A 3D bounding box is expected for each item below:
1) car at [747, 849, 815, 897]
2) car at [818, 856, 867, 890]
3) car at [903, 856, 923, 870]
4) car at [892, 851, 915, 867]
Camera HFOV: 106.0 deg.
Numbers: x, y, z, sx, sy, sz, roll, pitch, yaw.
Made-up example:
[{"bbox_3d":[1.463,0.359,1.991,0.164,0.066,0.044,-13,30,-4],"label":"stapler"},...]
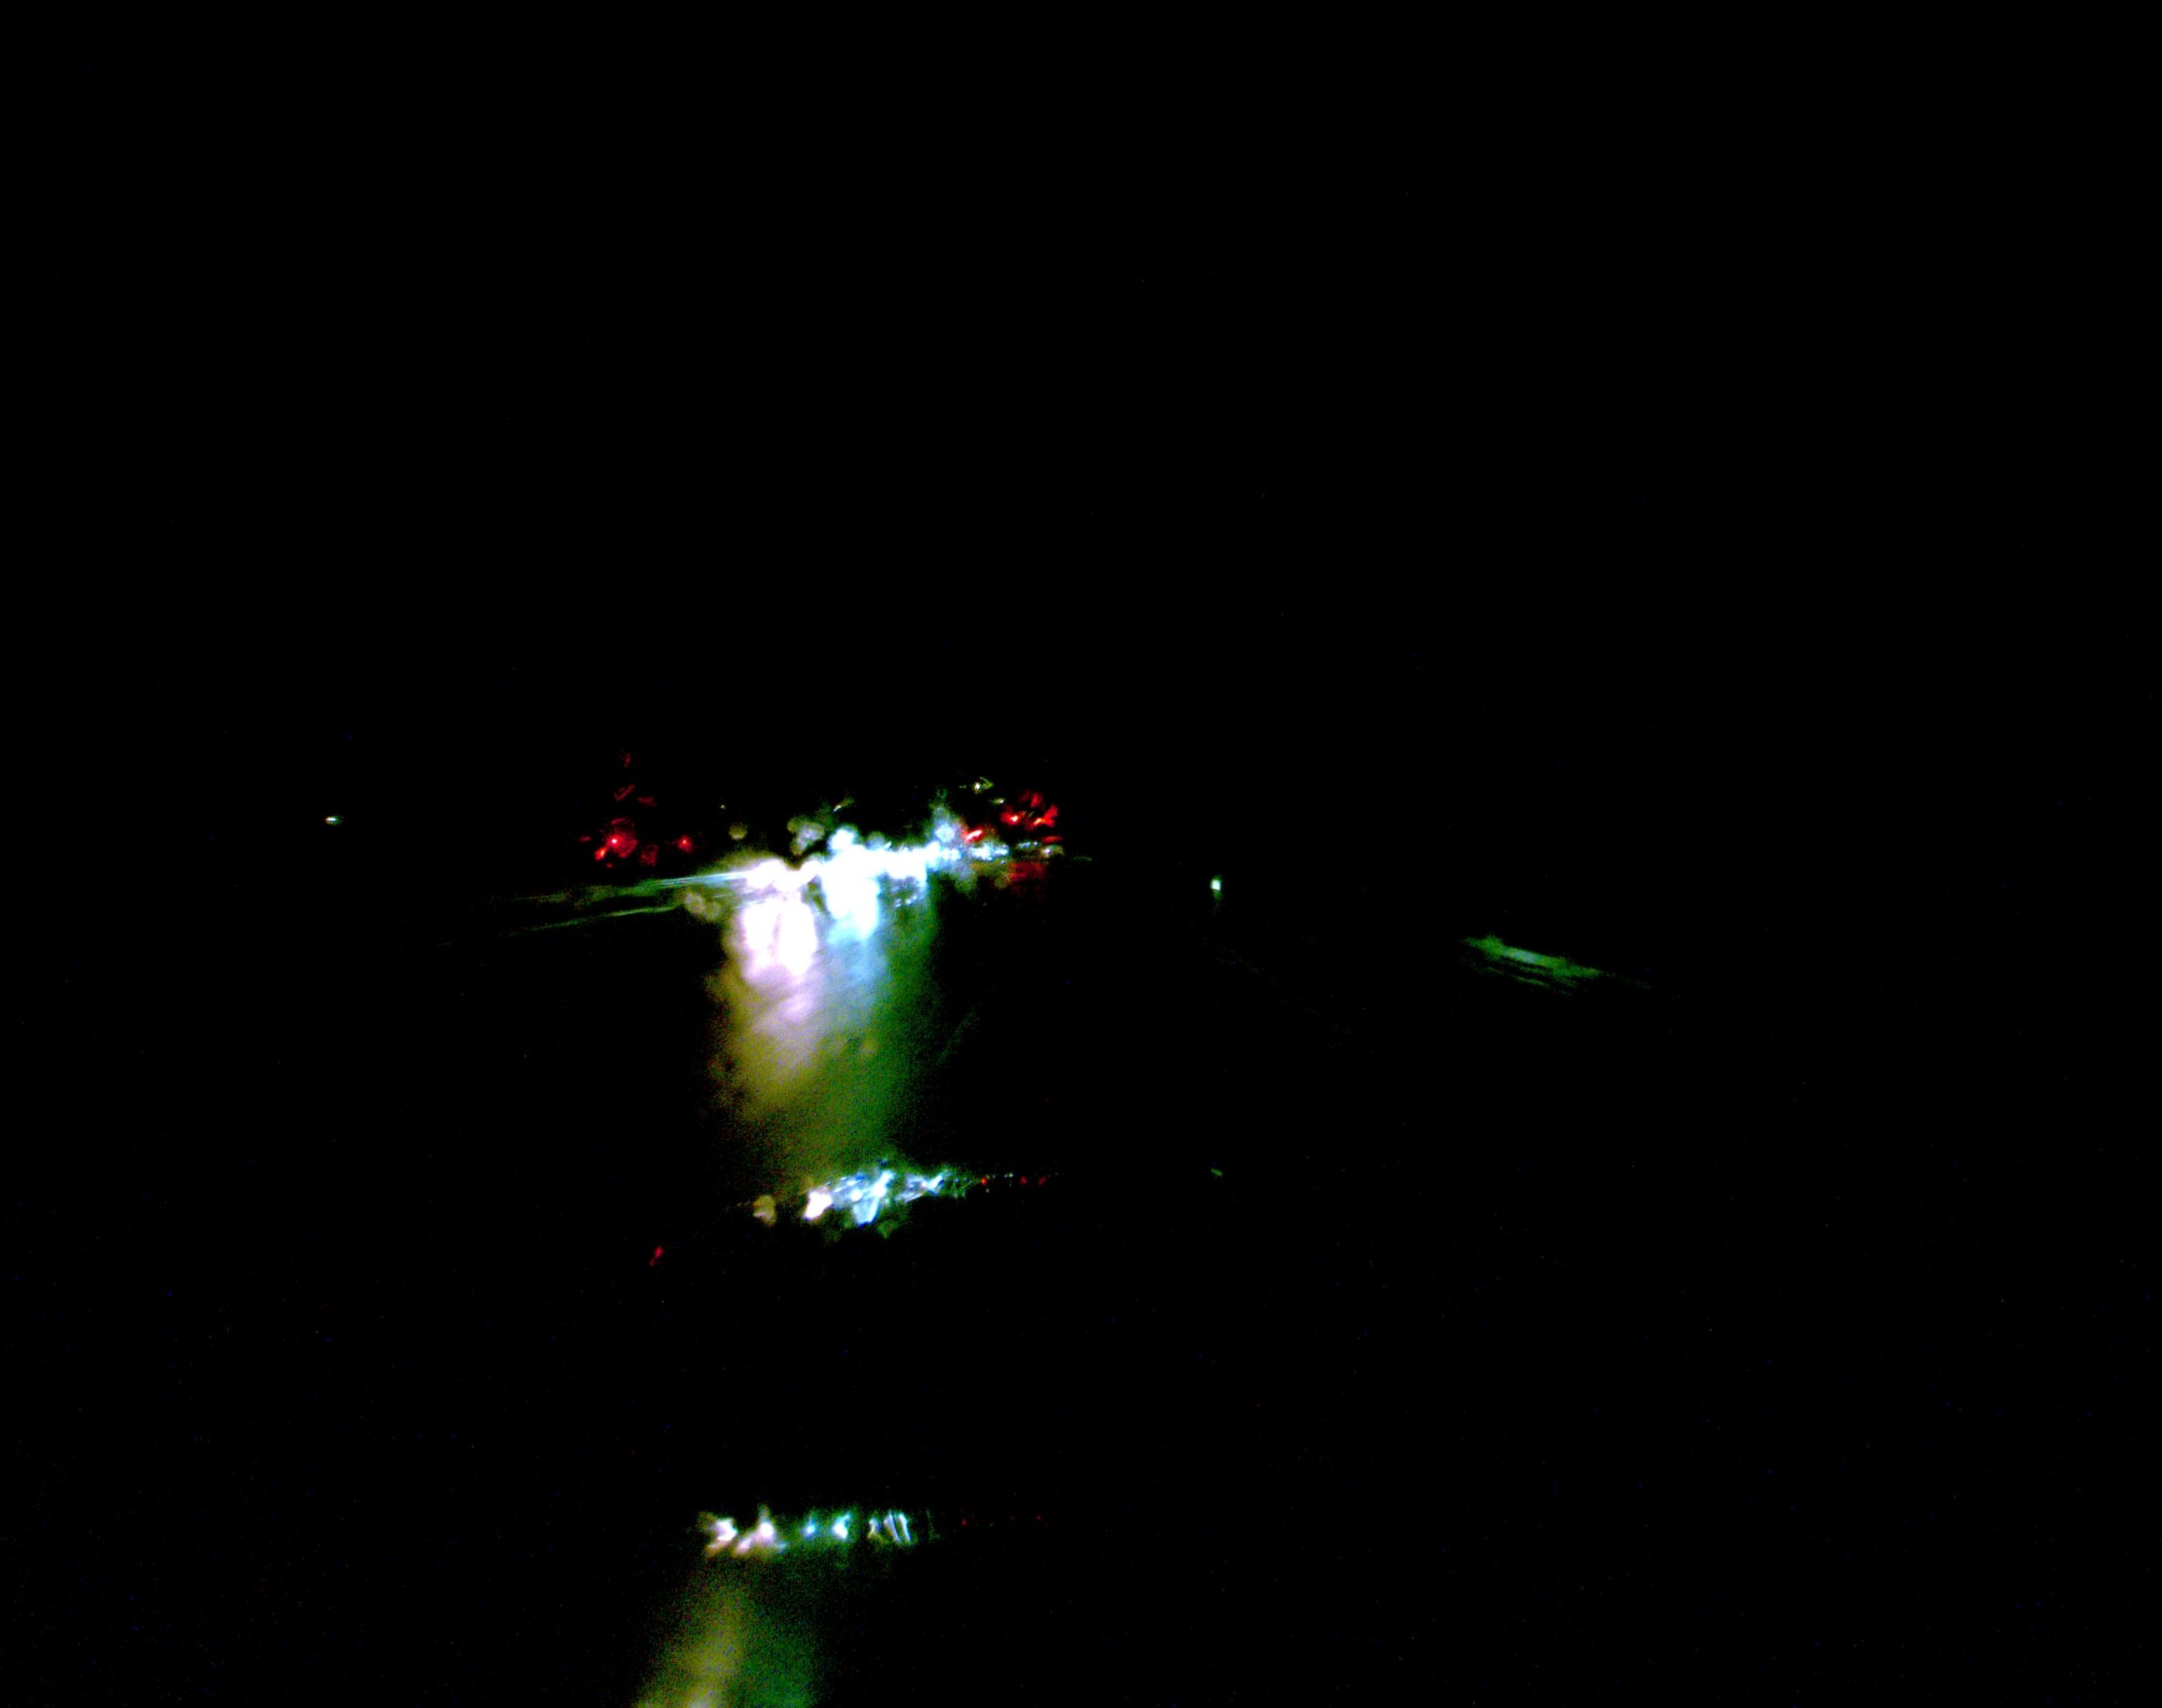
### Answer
[{"bbox_3d":[-10.728,0.644,29.338,1.884,1.600,3.881,0,0,-14],"label":"car"},{"bbox_3d":[-12.866,0.976,44.183,2.199,1.745,4.507,0,0,-11],"label":"car"},{"bbox_3d":[-19.220,0.997,93.270,1.789,1.441,3.846,-4,1,-8],"label":"car"},{"bbox_3d":[-17.122,0.461,78.733,1.832,1.442,4.476,0,0,-9],"label":"car"}]
